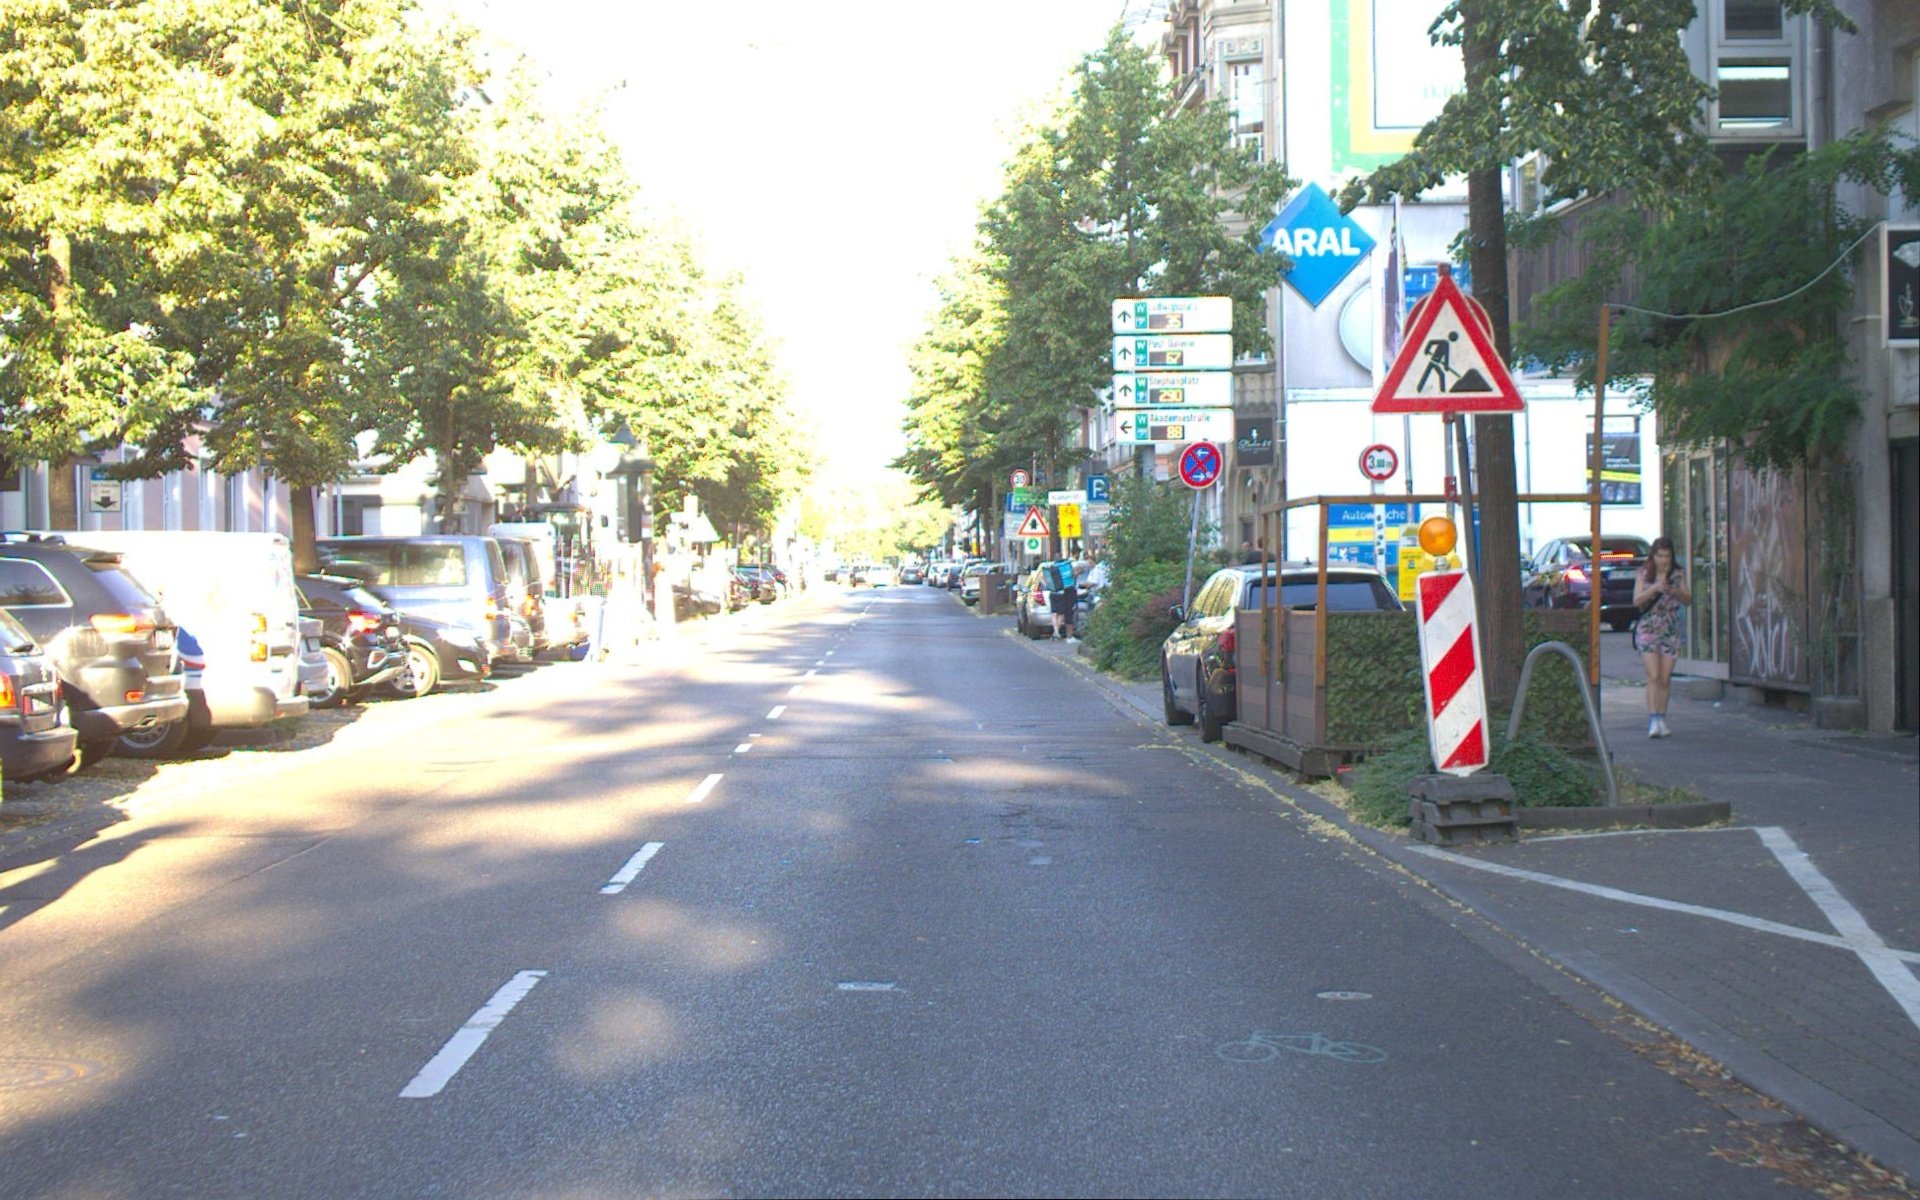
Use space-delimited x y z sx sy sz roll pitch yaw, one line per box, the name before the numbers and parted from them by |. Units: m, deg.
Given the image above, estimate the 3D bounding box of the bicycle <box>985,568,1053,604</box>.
bicycle | 1.769 -0.428 103.139 1.957 1.070 0.704 0 1 31

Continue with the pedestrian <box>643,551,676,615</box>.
pedestrian | -8.036 -0.456 91.951 0.710 1.680 0.833 0 1 8

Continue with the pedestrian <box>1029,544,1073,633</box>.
pedestrian | 1.803 -0.231 68.272 0.677 1.748 0.825 -1 0 -11

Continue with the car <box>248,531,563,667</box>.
car | -8.294 -0.033 51.717 4.483 1.969 1.966 0 1 -3

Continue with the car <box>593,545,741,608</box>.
car | -9.302 -0.748 109.326 4.571 1.955 1.991 0 0 -1

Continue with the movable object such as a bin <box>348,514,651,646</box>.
movable object such as a bin | -8.982 -0.410 67.487 2.312 2.486 5.740 0 1 43

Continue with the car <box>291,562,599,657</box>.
car | -8.177 0.140 54.857 4.594 1.465 1.892 0 1 2

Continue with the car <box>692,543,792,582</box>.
car | -9.983 -1.728 157.483 4.442 1.753 1.919 0 0 0

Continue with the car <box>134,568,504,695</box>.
car | -7.818 0.373 42.279 4.325 1.496 1.842 0 1 -6

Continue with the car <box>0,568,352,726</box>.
car | -8.364 0.433 33.685 4.478 1.480 1.734 0 1 1

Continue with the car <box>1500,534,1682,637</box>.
car | 9.465 -0.191 51.929 1.734 1.426 4.908 -2 0 -1

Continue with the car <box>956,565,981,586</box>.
car | 0.508 -1.475 207.514 1.513 1.271 3.303 0 0 0

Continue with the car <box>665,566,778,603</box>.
car | -9.699 -0.637 140.112 4.442 1.444 1.919 0 0 0

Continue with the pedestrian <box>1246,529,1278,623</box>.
pedestrian | 6.092 -0.486 69.348 0.460 1.869 0.501 -1 1 -16

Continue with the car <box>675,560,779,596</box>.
car | -10.211 -0.963 150.982 4.442 1.518 1.919 0 0 0

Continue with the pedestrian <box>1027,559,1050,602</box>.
pedestrian | 2.535 -0.625 111.033 0.726 1.374 0.781 0 1 -1

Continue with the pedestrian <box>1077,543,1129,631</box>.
pedestrian | 2.829 -0.251 67.988 0.651 1.694 0.667 -4 1 -45

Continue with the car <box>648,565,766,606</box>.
car | -9.794 -0.566 133.447 4.442 1.562 1.919 0 0 0

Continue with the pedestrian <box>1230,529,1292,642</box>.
pedestrian | 5.062 -0.244 57.903 0.822 1.847 1.097 -3 1 -2

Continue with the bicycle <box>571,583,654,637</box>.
bicycle | -7.416 0.215 73.402 1.683 1.075 0.444 2 -1 7

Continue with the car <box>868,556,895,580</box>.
car | -5.316 -2.154 232.852 1.752 1.535 3.303 -1 0 0

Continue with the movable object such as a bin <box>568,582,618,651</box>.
movable object such as a bin | -6.076 0.272 56.896 0.690 1.101 0.883 -1 1 1

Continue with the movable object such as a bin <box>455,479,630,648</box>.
movable object such as a bin | -7.600 -0.673 63.145 2.624 2.959 5.304 0 1 -1

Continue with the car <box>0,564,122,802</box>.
car | -8.031 0.555 23.602 4.037 1.550 1.964 -1 1 2

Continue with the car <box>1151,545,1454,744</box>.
car | 2.832 0.325 29.487 1.828 1.483 4.850 -3 1 -3

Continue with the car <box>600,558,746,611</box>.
car | -9.334 -0.501 111.894 4.571 1.692 2.060 0 0 0

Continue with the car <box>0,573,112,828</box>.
car | -7.477 0.603 21.141 4.037 1.478 1.963 -1 1 -1

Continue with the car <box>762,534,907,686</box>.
car | -1.608 0.096 45.176 1.708 1.817 4.013 -3 1 -1

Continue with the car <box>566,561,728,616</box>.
car | -8.976 -0.336 98.819 4.546 1.536 1.811 0 0 -2

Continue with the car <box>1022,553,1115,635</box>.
car | 2.225 -0.138 71.473 1.687 1.569 4.013 -3 1 -1

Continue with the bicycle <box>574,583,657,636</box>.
bicycle | -7.418 0.214 73.992 1.683 1.075 0.444 2 -1 7

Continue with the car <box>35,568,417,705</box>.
car | -8.332 0.397 39.237 3.923 1.496 1.905 0 1 2

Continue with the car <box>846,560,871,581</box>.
car | -7.427 -2.140 251.770 1.752 1.535 3.303 -1 0 0

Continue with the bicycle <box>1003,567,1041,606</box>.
bicycle | 1.892 -0.423 104.601 0.598 1.174 1.844 0 1 19

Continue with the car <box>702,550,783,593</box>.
car | -12.333 -1.608 194.918 4.442 2.426 1.919 0 0 0

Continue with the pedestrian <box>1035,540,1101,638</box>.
pedestrian | 2.062 -0.214 65.638 1.013 1.819 0.780 -3 1 -10

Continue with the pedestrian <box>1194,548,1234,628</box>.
pedestrian | 5.076 -0.243 68.840 0.658 1.557 0.701 -3 1 -1

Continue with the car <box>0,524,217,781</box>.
car | -8.051 0.388 26.030 4.428 1.863 1.894 -1 1 0

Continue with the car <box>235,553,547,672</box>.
car | -8.082 0.162 49.090 4.129 1.631 1.860 1 1 0

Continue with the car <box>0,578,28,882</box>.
car | -6.636 0.654 16.193 4.058 1.456 1.686 -1 1 -3

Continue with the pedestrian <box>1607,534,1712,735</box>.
pedestrian | 5.406 0.257 26.614 0.610 1.520 0.773 -2 1 -1

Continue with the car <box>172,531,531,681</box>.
car | -8.159 0.065 46.422 4.483 1.969 2.068 0 1 0

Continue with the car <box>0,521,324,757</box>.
car | -7.982 0.316 28.959 4.870 1.901 1.974 -1 1 -1

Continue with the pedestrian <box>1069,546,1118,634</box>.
pedestrian | 2.659 -0.196 68.595 0.677 1.700 0.825 -3 1 -15

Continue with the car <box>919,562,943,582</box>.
car | -2.211 -2.107 259.272 1.752 1.535 3.303 -1 0 0

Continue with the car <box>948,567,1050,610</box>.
car | 1.465 -0.442 127.915 1.674 1.583 3.814 1 1 42
